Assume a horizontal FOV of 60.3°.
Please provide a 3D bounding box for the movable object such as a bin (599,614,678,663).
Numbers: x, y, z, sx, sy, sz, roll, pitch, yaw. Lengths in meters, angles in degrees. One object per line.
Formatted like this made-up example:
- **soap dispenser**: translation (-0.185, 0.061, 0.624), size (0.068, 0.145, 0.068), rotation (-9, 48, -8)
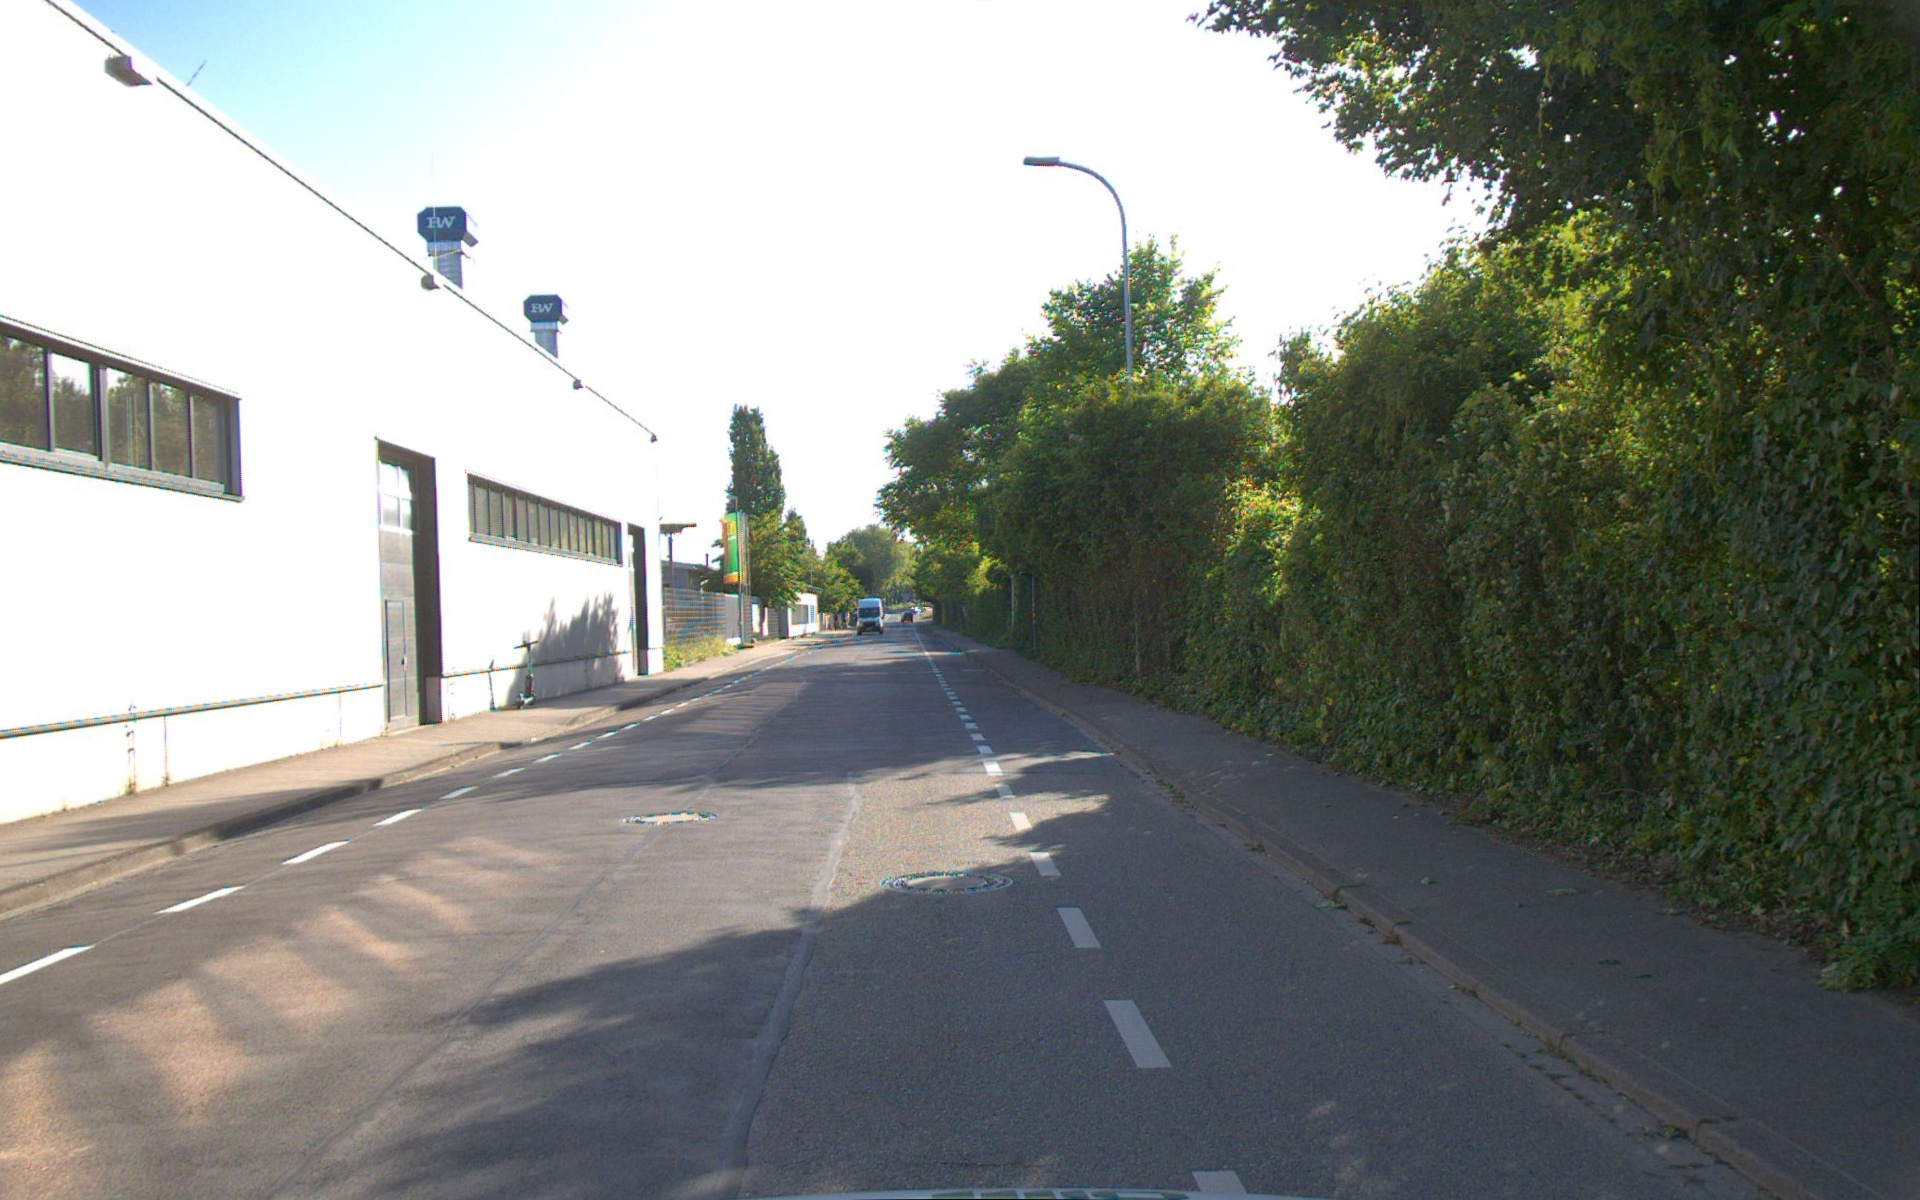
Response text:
- **movable object such as a bin**: translation (-13.334, 1.598, 68.704), size (2.979, 1.867, 1.524), rotation (-2, 0, -4)

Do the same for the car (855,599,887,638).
- **car**: translation (-6.962, 1.483, 129.803), size (2.080, 2.828, 5.924), rotation (-4, -1, -1)

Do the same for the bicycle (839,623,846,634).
- **bicycle**: translation (-12.063, 2.902, 169.336), size (0.675, 1.052, 1.350), rotation (-1, 0, -2)

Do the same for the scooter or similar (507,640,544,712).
- **scooter or similar**: translation (-8.145, 1.417, 31.060), size (0.408, 1.289, 1.059), rotation (-2, 0, -2)

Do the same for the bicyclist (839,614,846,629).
- **bicyclist**: translation (-12.069, 2.183, 169.304), size (0.675, 1.559, 0.722), rotation (-1, -1, -2)

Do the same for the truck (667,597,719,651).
- **truck**: translation (-14.779, 1.320, 91.721), size (2.037, 2.809, 5.762), rotation (-3, 0, -2)
